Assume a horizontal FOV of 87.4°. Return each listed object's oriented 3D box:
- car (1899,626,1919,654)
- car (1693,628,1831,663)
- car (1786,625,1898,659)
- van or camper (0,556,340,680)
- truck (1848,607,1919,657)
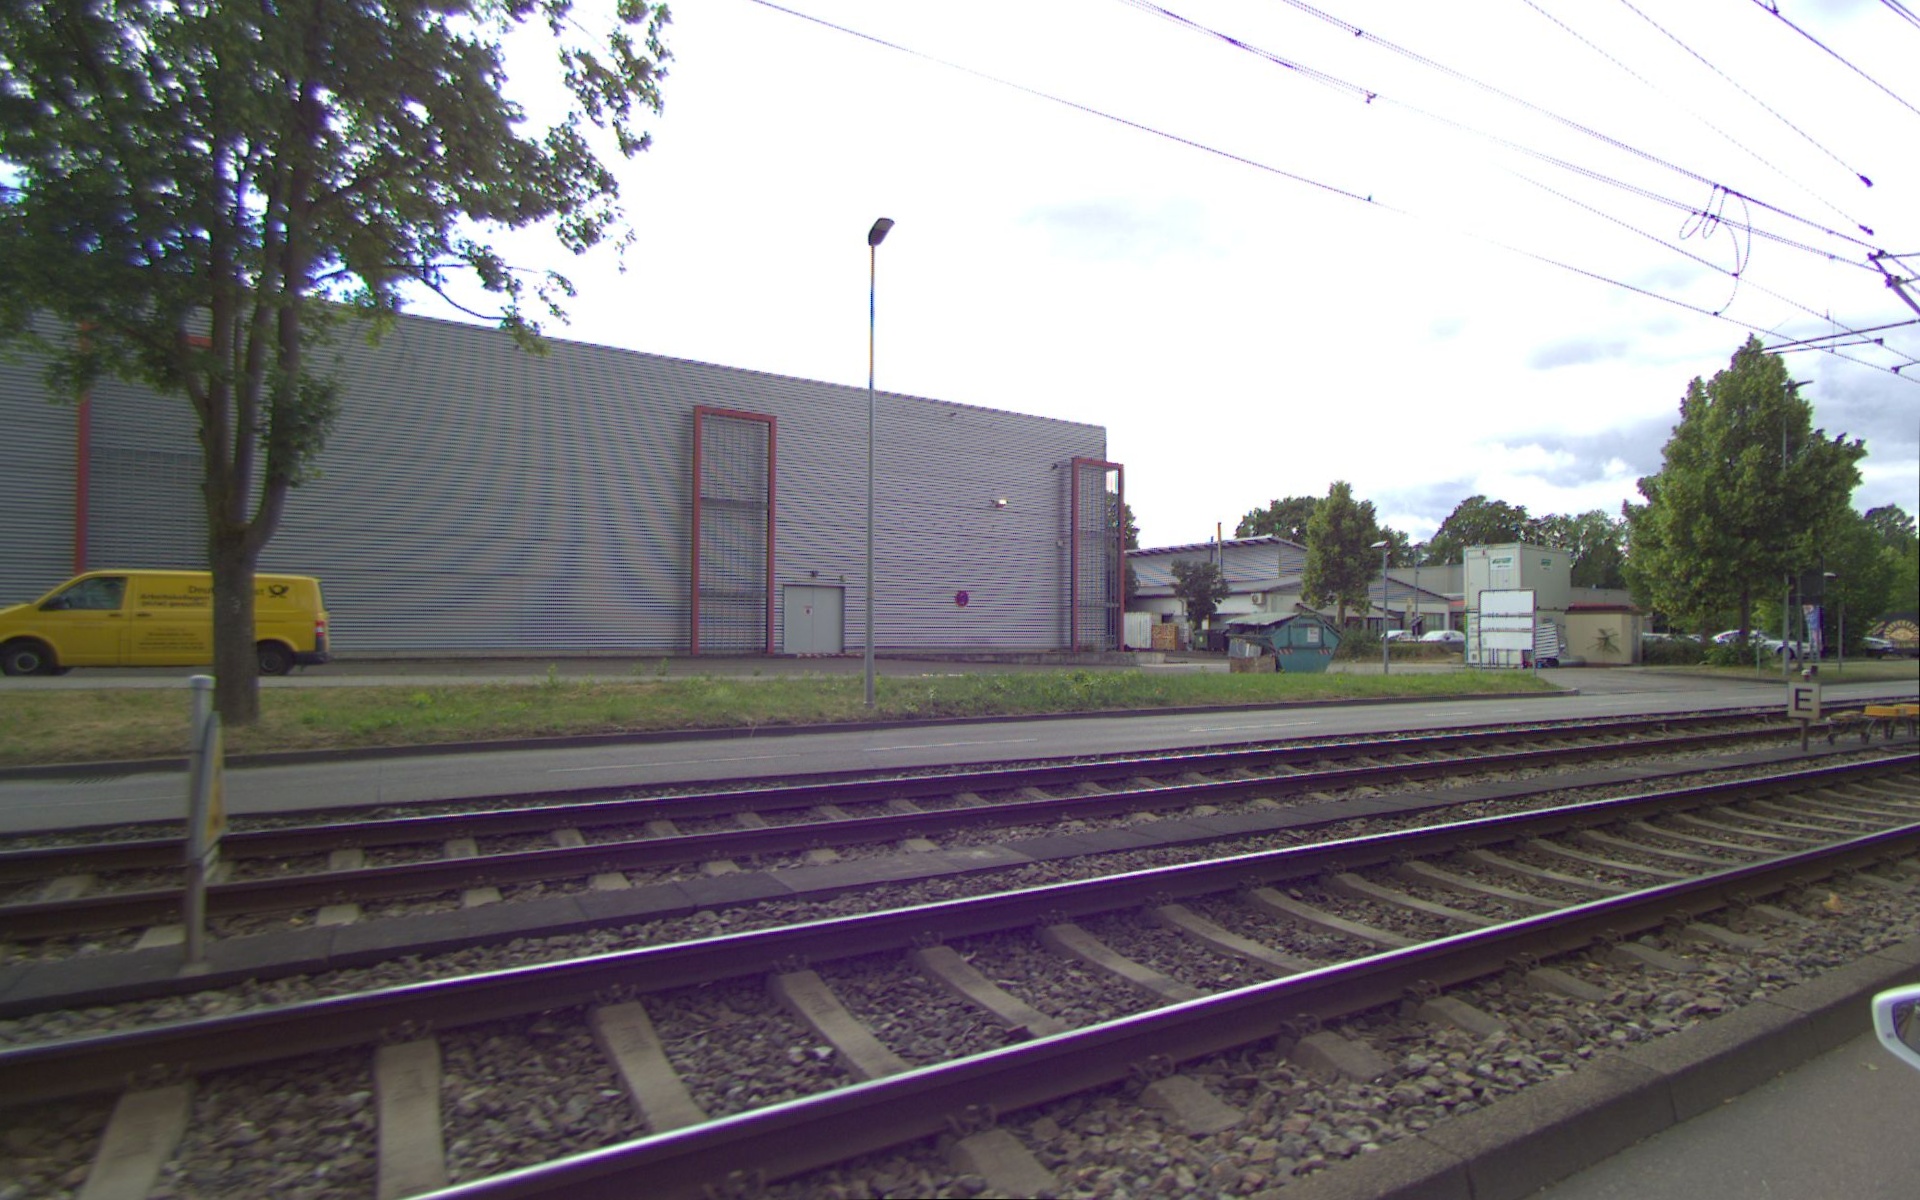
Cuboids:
[{"bbox_3d":[63.319,2.561,64.638,1.859,1.821,3.962,1,-2,-34],"label":"car"},{"bbox_3d":[39.812,2.214,49.996,2.620,1.650,4.761,0,-2,-29],"label":"car"},{"bbox_3d":[47.959,2.264,54.688,1.973,1.750,4.198,1,-2,-32],"label":"car"},{"bbox_3d":[-14.591,0.361,18.635,5.188,2.040,2.091,1,-1,-34],"label":"van or camper"},{"bbox_3d":[55.412,1.889,59.311,2.350,2.859,3.965,1,-2,-32],"label":"truck"}]
